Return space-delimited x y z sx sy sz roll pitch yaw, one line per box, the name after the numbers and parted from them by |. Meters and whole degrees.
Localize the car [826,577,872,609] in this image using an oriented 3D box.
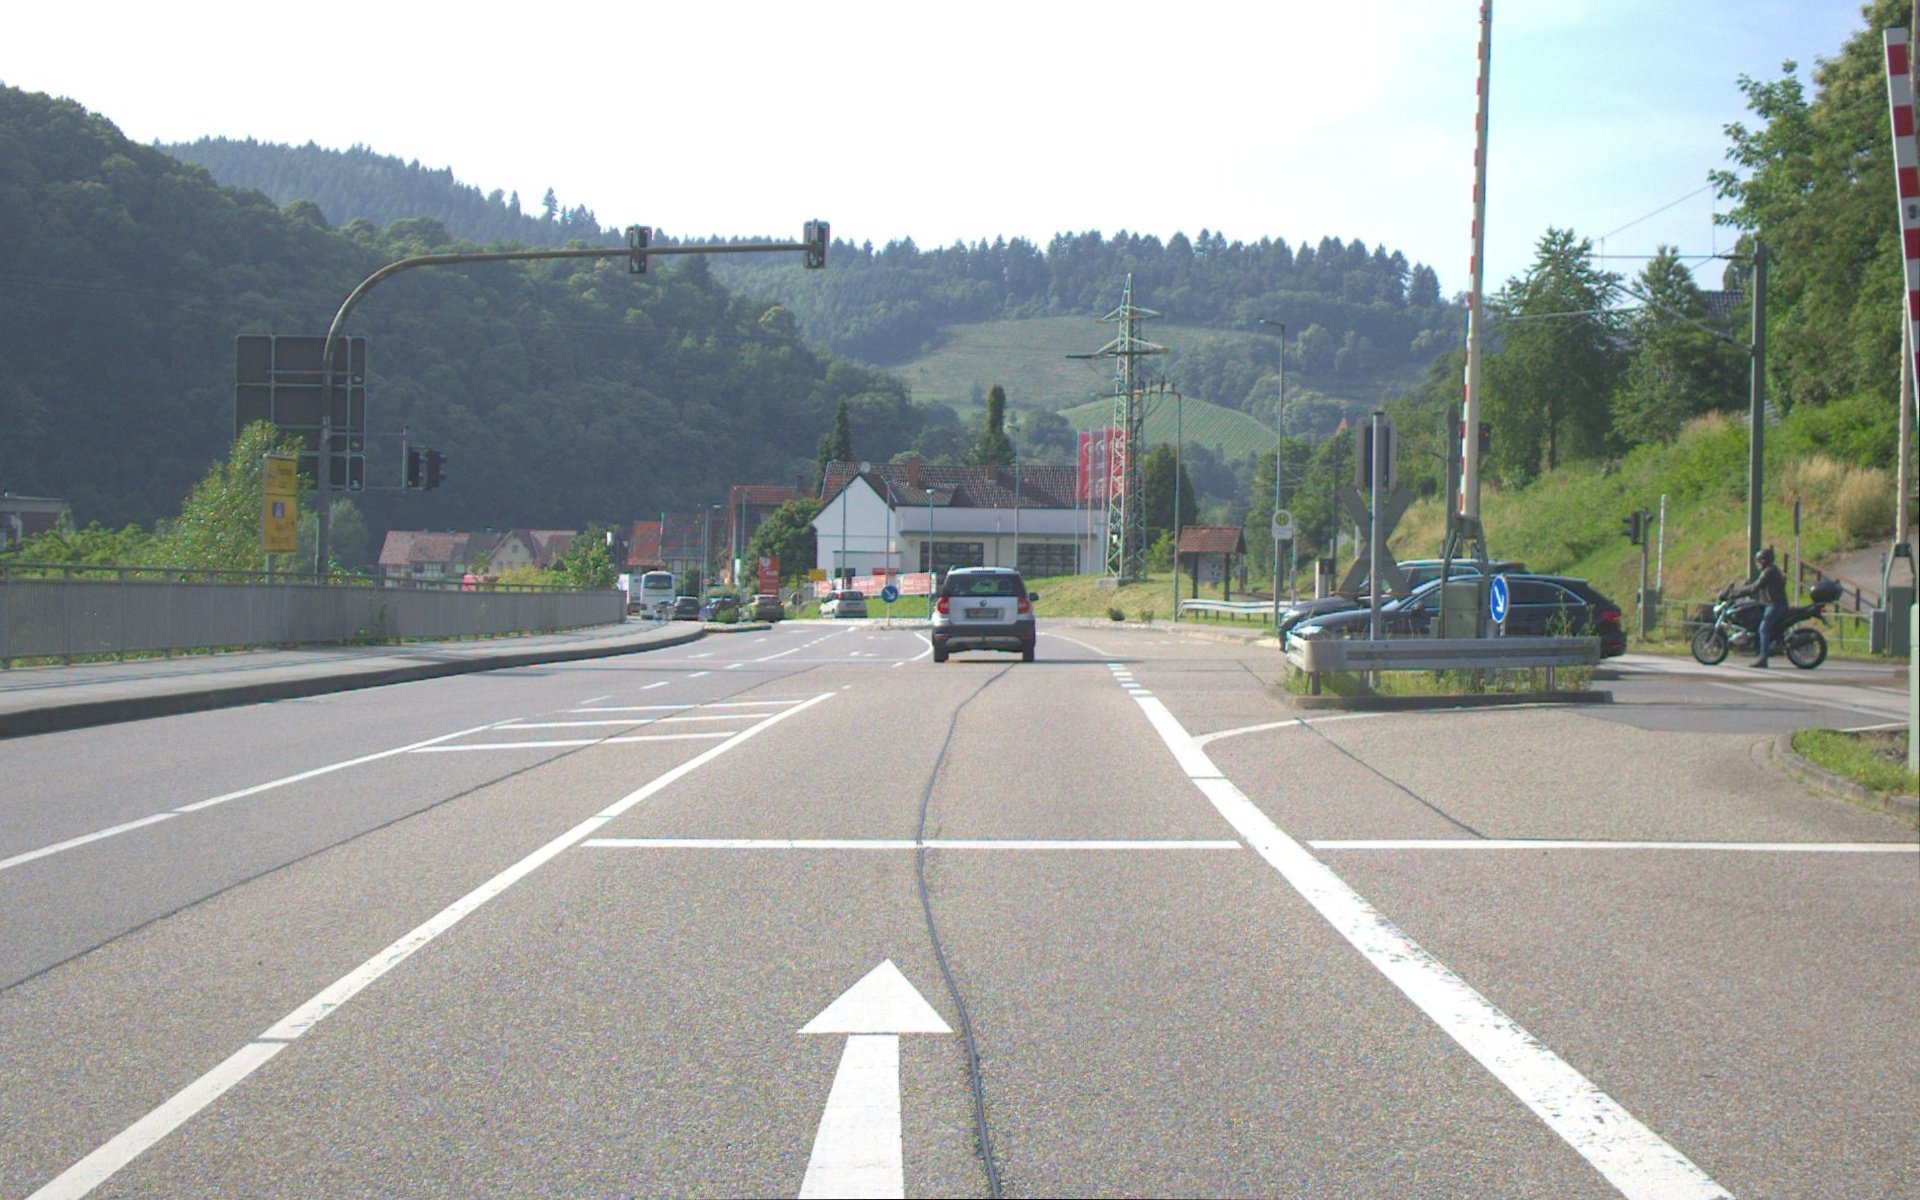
-5.270 -0.353 163.066 1.453 1.430 2.937 1 1 -17 | car

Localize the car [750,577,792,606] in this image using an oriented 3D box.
-9.815 -0.441 178.650 1.453 1.430 2.937 1 1 -18 | car

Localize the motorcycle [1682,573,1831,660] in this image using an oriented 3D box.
12.053 0.242 52.039 2.095 1.250 0.798 2 1 19 | motorcycle

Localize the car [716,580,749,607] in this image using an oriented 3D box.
-12.827 -0.370 193.497 1.232 1.430 2.641 -1 1 -18 | car

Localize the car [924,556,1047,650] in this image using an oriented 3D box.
0.481 0.067 60.335 1.861 1.539 4.372 1 0 4 | car

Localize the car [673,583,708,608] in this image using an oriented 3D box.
-16.556 -0.285 210.767 1.453 1.430 2.937 1 1 -18 | car

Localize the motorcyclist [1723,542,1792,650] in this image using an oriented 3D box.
12.069 -0.068 52.028 0.907 1.591 0.765 2 1 18 | motorcyclist

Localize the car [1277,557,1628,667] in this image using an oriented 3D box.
6.852 0.161 48.203 4.726 1.465 1.841 -1 0 4 | car
